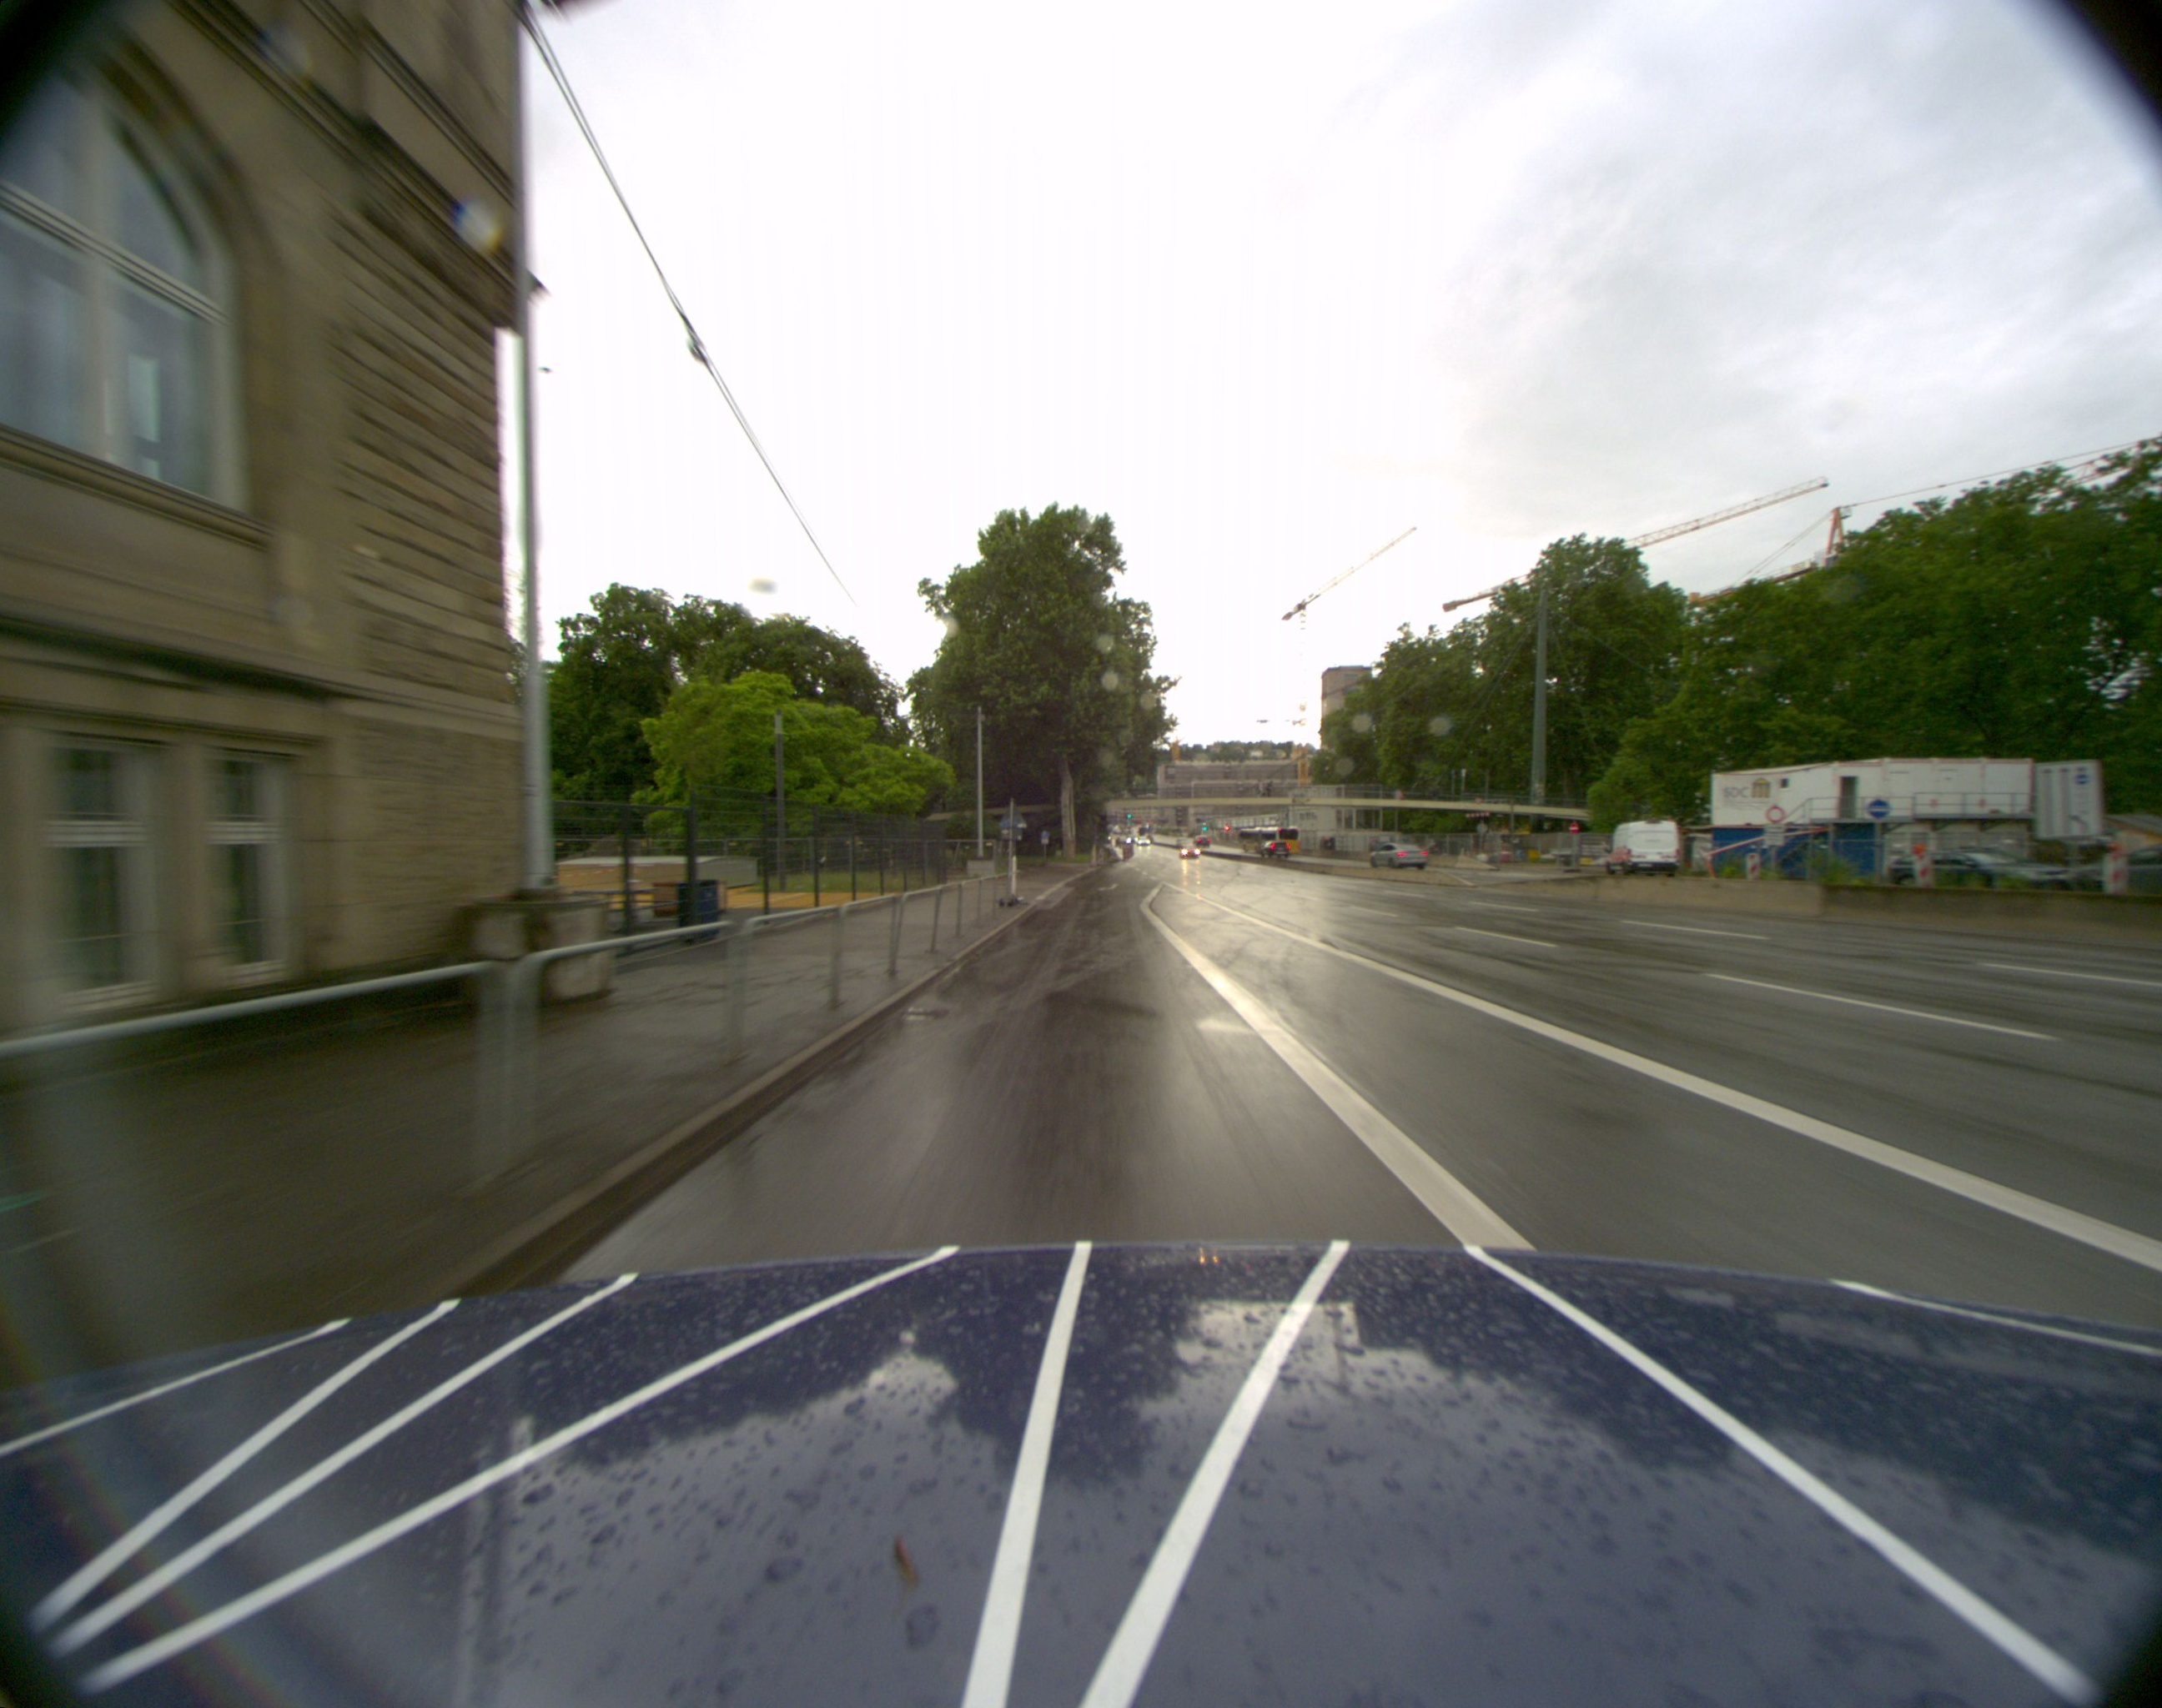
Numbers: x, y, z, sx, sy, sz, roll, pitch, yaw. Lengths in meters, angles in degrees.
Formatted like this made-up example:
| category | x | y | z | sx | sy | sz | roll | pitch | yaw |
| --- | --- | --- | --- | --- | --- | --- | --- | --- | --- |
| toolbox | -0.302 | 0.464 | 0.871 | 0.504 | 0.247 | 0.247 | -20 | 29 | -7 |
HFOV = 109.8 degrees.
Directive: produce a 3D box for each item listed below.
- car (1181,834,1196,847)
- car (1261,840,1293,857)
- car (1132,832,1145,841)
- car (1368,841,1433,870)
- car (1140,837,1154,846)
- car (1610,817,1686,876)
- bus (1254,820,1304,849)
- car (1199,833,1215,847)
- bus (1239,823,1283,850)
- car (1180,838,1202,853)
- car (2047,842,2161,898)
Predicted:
| category | x | y | z | sx | sy | sz | roll | pitch | yaw |
| --- | --- | --- | --- | --- | --- | --- | --- | --- | --- |
| car | 16.267 | -2.036 | 115.229 | 1.998 | 2.002 | 4.001 | 0 | 0 | 4 |
| car | 18.682 | -0.544 | 72.559 | 1.840 | 1.567 | 4.439 | 0 | 0 | -1 |
| car | 10.903 | -3.339 | 144.403 | 1.987 | 1.567 | 4.439 | 0 | 0 | -1 |
| car | 18.620 | 0.066 | 44.510 | 1.840 | 1.567 | 4.439 | 0 | 0 | -1 |
| car | 11.325 | -2.110 | 129.968 | 1.987 | 1.567 | 4.439 | 0 | 0 | -1 |
| car | 27.972 | -0.373 | 37.656 | 2.075 | 2.722 | 4.600 | 0 | 1 | 24 |
| bus | 21.956 | -2.062 | 84.688 | 3.270 | 2.923 | 8.953 | -2 | 0 | 1 |
| car | 19.187 | -2.096 | 115.797 | 1.998 | 2.002 | 4.001 | 0 | 0 | 4 |
| bus | 22.084 | -2.137 | 93.683 | 3.238 | 3.038 | 8.953 | -2 | 0 | 1 |
| car | 11.479 | -0.887 | 79.741 | 1.690 | 1.543 | 4.000 | -1 | 0 | 0 |
| car | 29.371 | 0.414 | 20.265 | 1.839 | 1.481 | 4.441 | 0 | 0 | 6 |
